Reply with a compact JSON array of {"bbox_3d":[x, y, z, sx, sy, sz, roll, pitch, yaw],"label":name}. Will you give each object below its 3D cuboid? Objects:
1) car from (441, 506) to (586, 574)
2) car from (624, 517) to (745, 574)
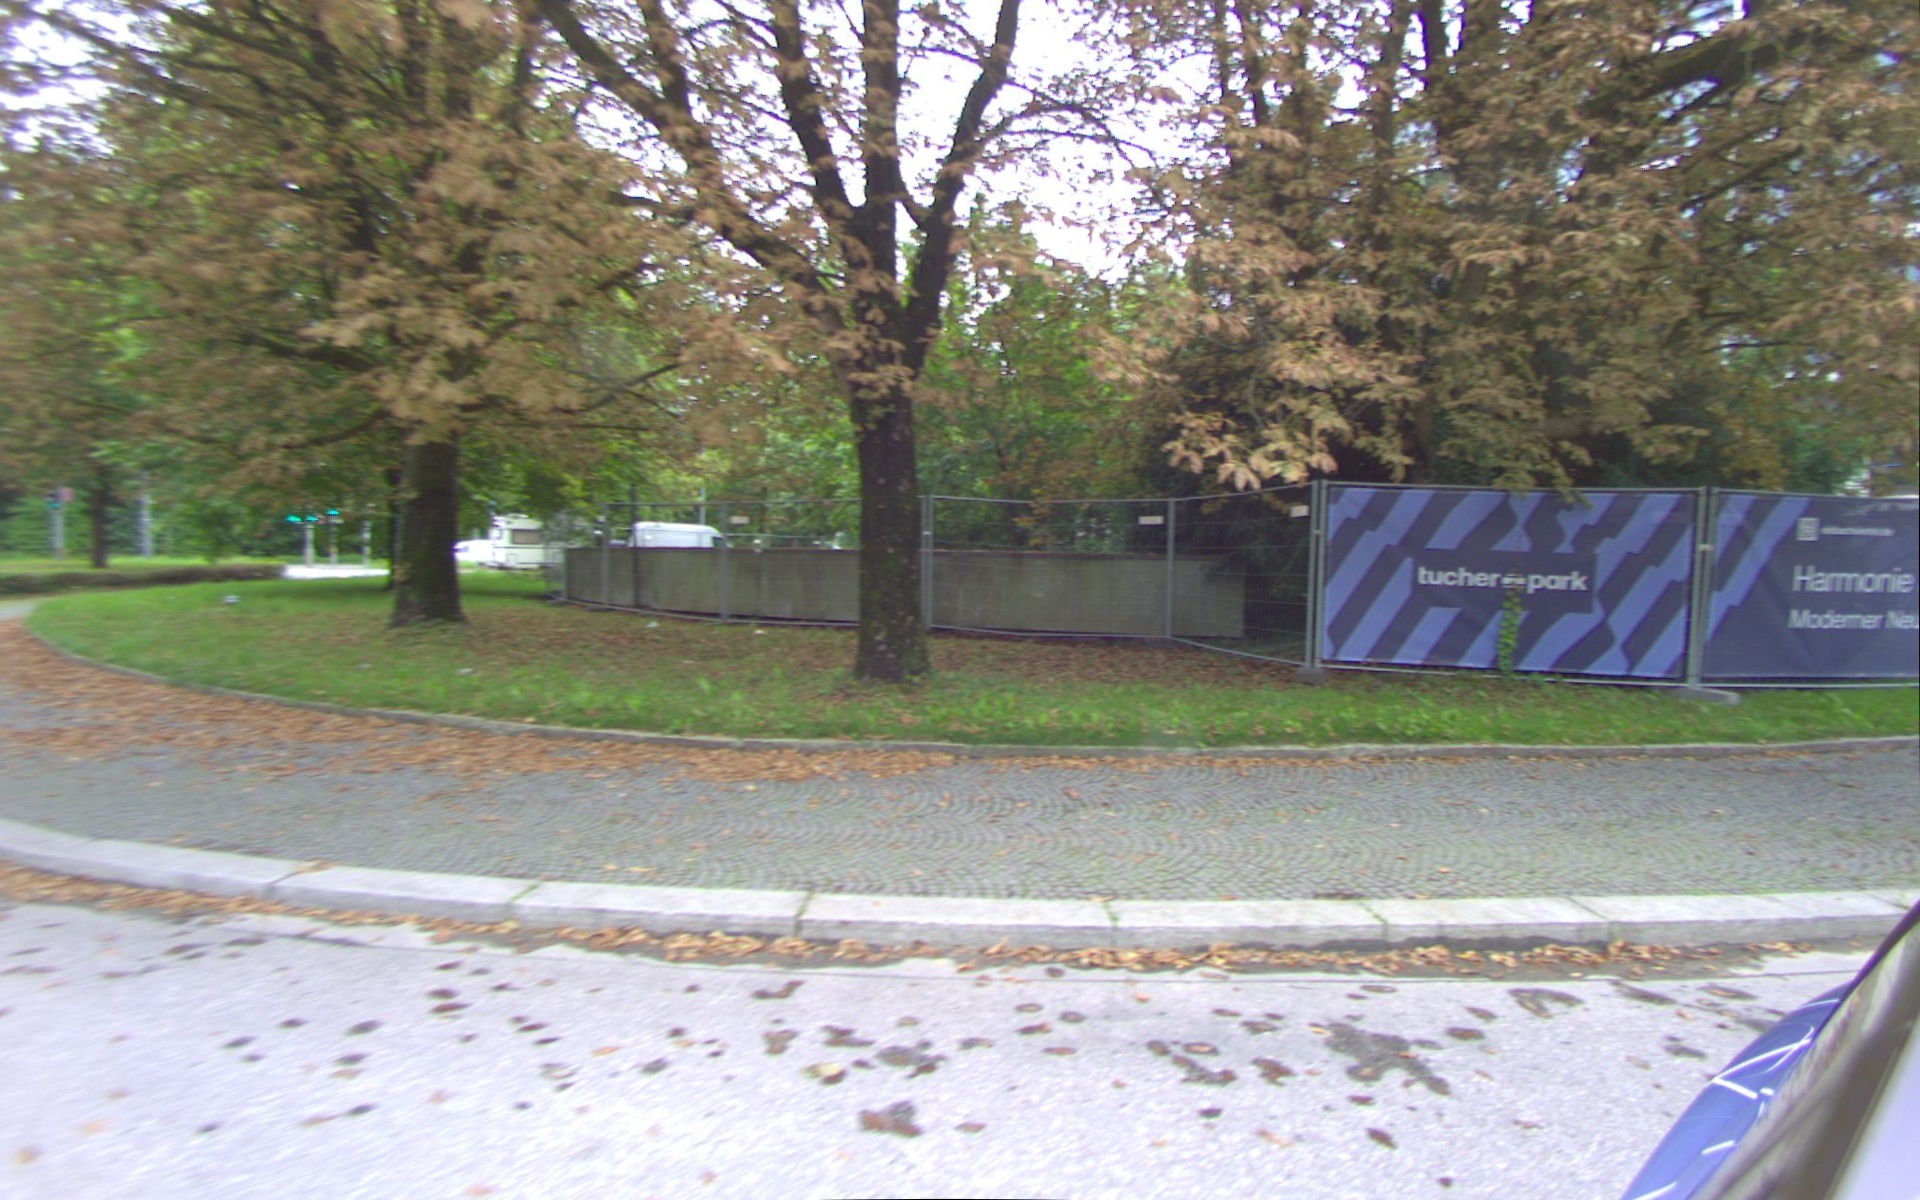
[{"bbox_3d":[-19.605,-2.595,44.567,5.494,2.767,2.076,-1,3,-38],"label":"car"},{"bbox_3d":[-13.466,-2.626,49.682,5.358,2.612,2.076,-1,3,-38],"label":"car"}]
